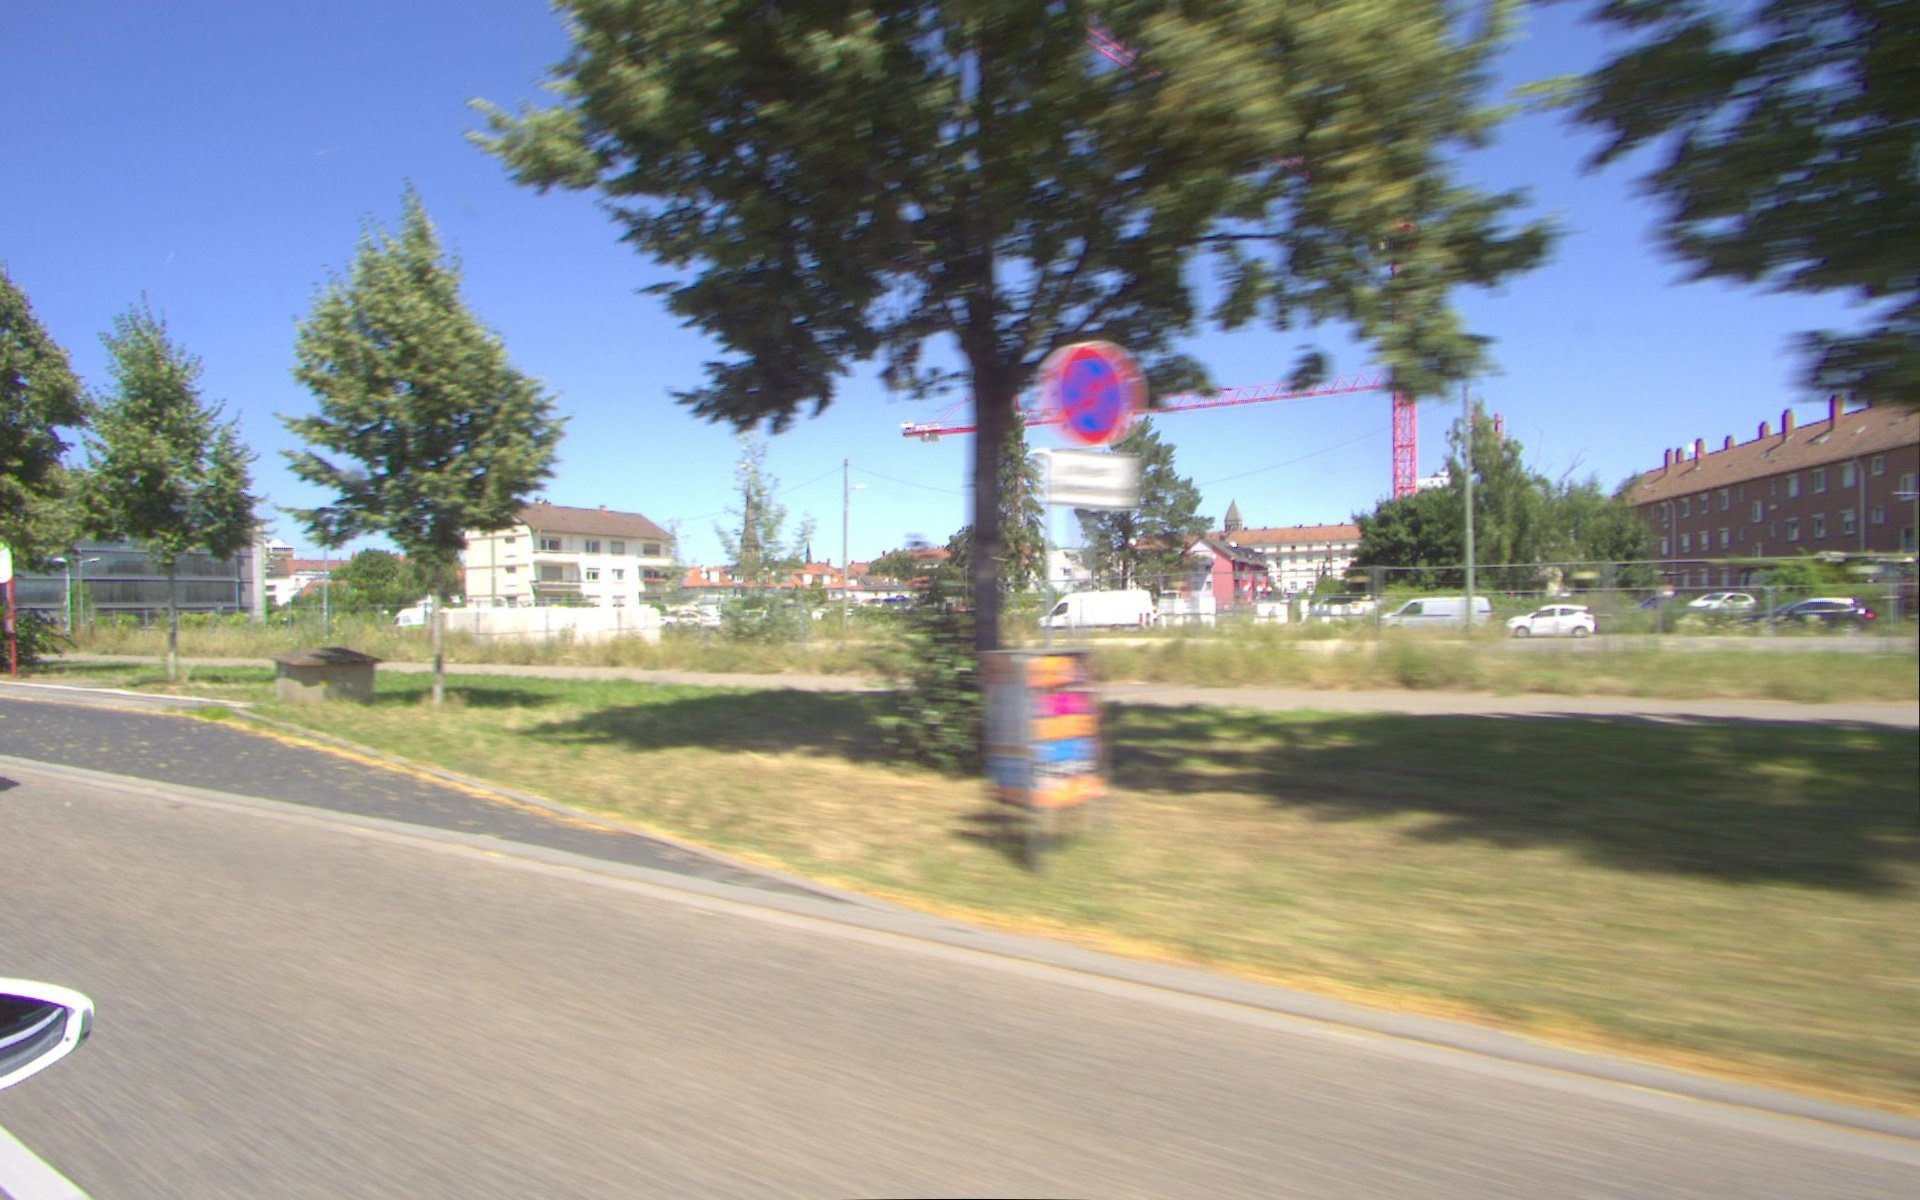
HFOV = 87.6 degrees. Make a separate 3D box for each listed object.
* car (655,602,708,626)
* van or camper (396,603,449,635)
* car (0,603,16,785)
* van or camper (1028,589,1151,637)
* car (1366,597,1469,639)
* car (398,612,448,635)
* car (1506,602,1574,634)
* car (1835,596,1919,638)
[{"bbox_3d":[-20.326,1.015,73.063,3.566,1.607,1.673,-2,0,28],"label":"car"},{"bbox_3d":[-48.422,1.699,90.249,4.590,2.838,1.992,-1,0,28],"label":"van or camper"},{"bbox_3d":[-11.157,0.892,9.766,4.541,1.669,1.798,-2,-3,33],"label":"car"},{"bbox_3d":[7.481,0.794,58.225,6.899,2.636,1.921,-1,0,30],"label":"van or camper"},{"bbox_3d":[22.688,0.910,49.800,4.605,2.040,1.779,-1,0,24],"label":"car"},{"bbox_3d":[-48.512,2.102,90.447,4.111,2.040,1.992,-1,0,28],"label":"car"},{"bbox_3d":[27.321,0.832,47.209,2.750,1.425,1.411,0,2,32],"label":"car"},{"bbox_3d":[37.391,0.681,40.075,3.370,1.635,1.363,-1,0,33],"label":"car"}]
